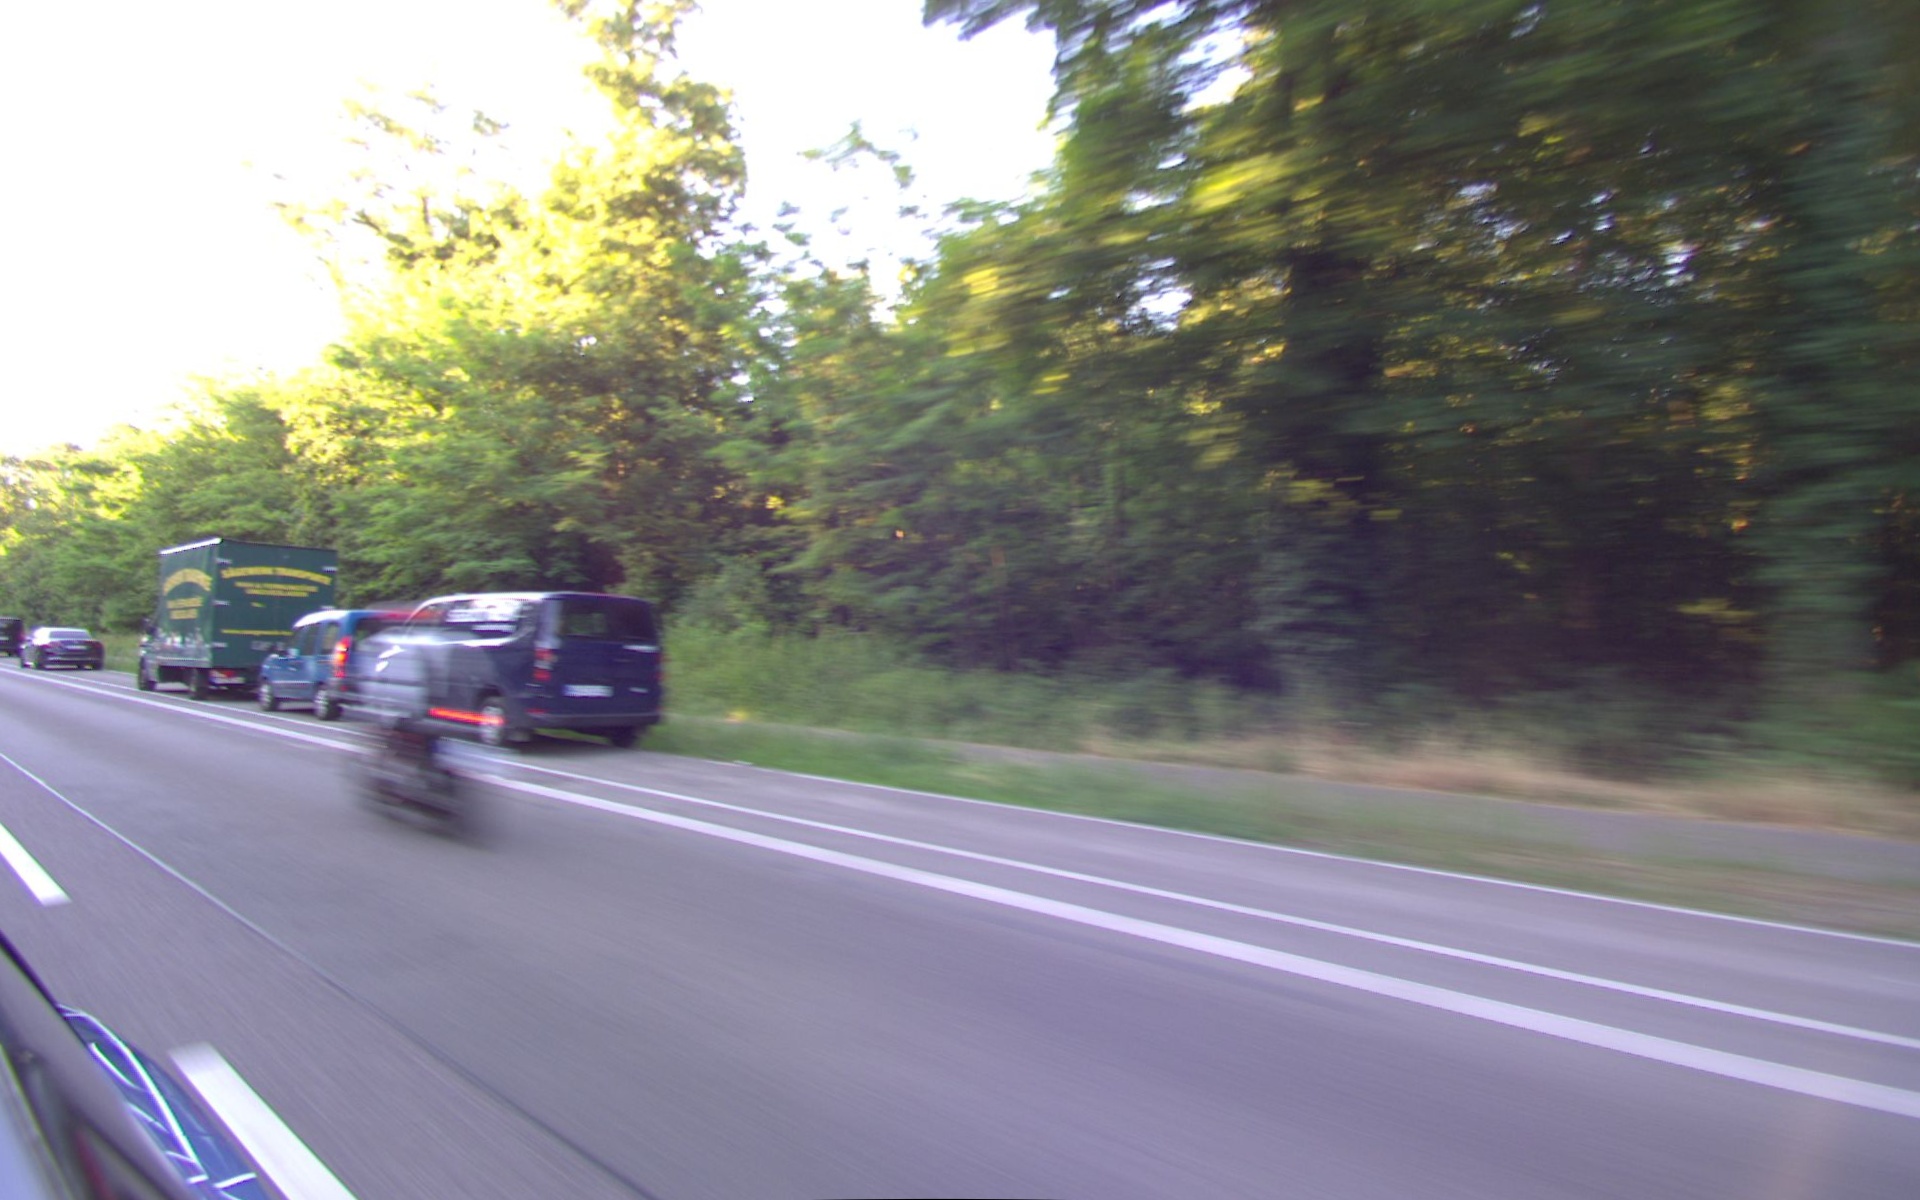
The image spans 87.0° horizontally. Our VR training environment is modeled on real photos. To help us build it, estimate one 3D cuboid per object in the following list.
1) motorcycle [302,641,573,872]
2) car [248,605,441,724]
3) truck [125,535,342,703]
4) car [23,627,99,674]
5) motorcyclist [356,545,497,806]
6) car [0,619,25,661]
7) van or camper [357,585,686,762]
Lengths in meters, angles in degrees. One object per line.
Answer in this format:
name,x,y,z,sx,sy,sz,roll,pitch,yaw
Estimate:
motorcycle,-3.692,0.956,7.024,2.432,1.319,0.831,-1,-2,41
car,-10.718,1.094,17.556,3.755,1.841,1.587,-1,-5,39
truck,-16.106,0.496,22.278,6.266,3.232,2.198,-1,-5,40
car,-31.316,1.764,35.226,3.760,1.515,1.585,-2,-5,44
motorcyclist,-3.620,0.484,6.861,0.875,1.636,0.551,-2,-2,41
car,-47.669,1.938,49.783,3.932,1.975,1.829,-1,-5,40
van or camper,-5.970,0.930,13.558,4.687,1.971,2.009,-1,-5,39
